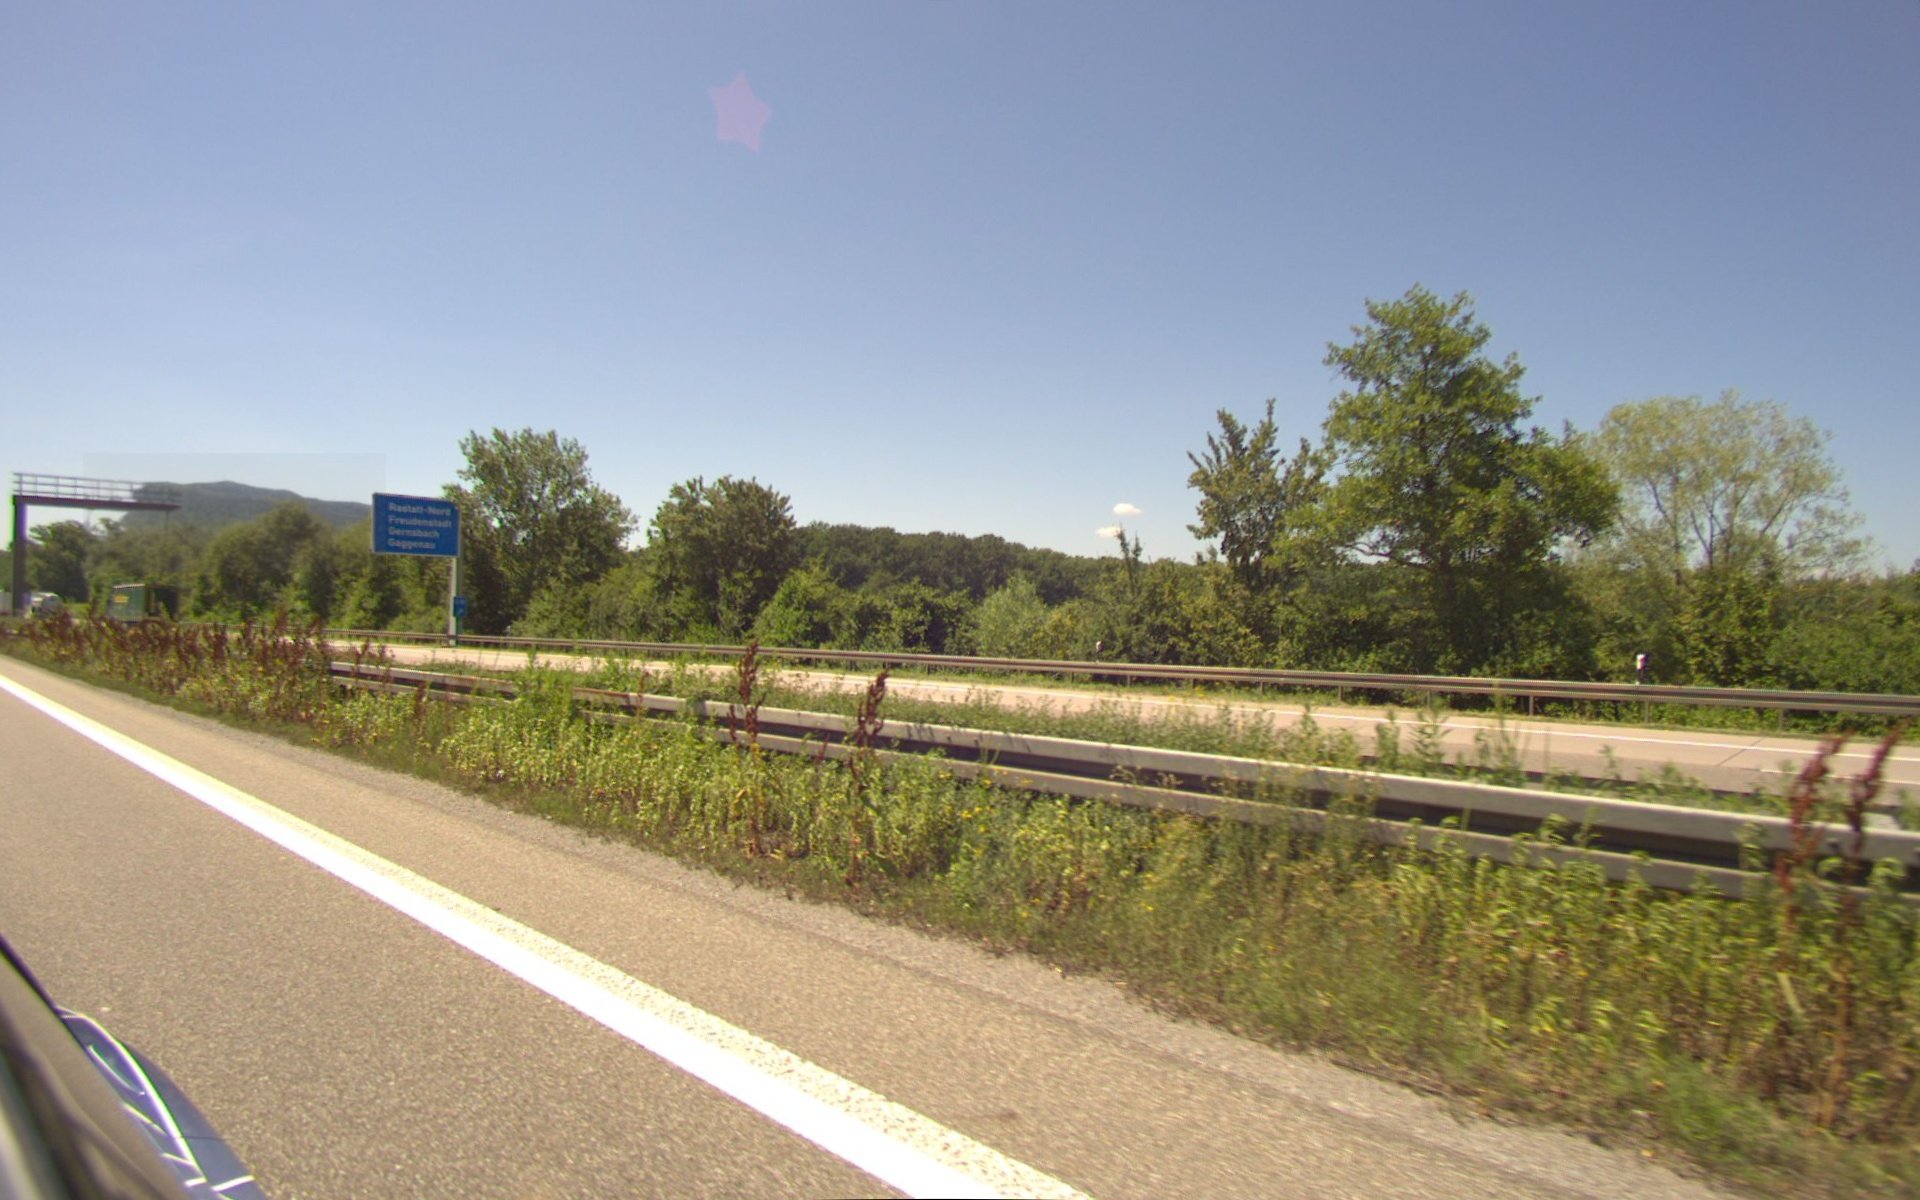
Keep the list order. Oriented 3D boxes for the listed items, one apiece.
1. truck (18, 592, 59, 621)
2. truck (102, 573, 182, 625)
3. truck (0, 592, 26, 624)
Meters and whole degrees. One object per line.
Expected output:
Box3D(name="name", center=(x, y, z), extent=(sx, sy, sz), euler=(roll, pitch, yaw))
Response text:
Box3D(name="truck", center=(-136.811, 0.982, 150.156), extent=(15.817, 4.049, 2.923), euler=(-1, -2, 42))
Box3D(name="truck", center=(-76.077, 0.022, 93.911), extent=(18.238, 4.375, 2.923), euler=(-1, -2, 42))
Box3D(name="truck", center=(-138.117, 1.198, 146.323), extent=(17.178, 4.278, 2.923), euler=(-1, -2, 42))
